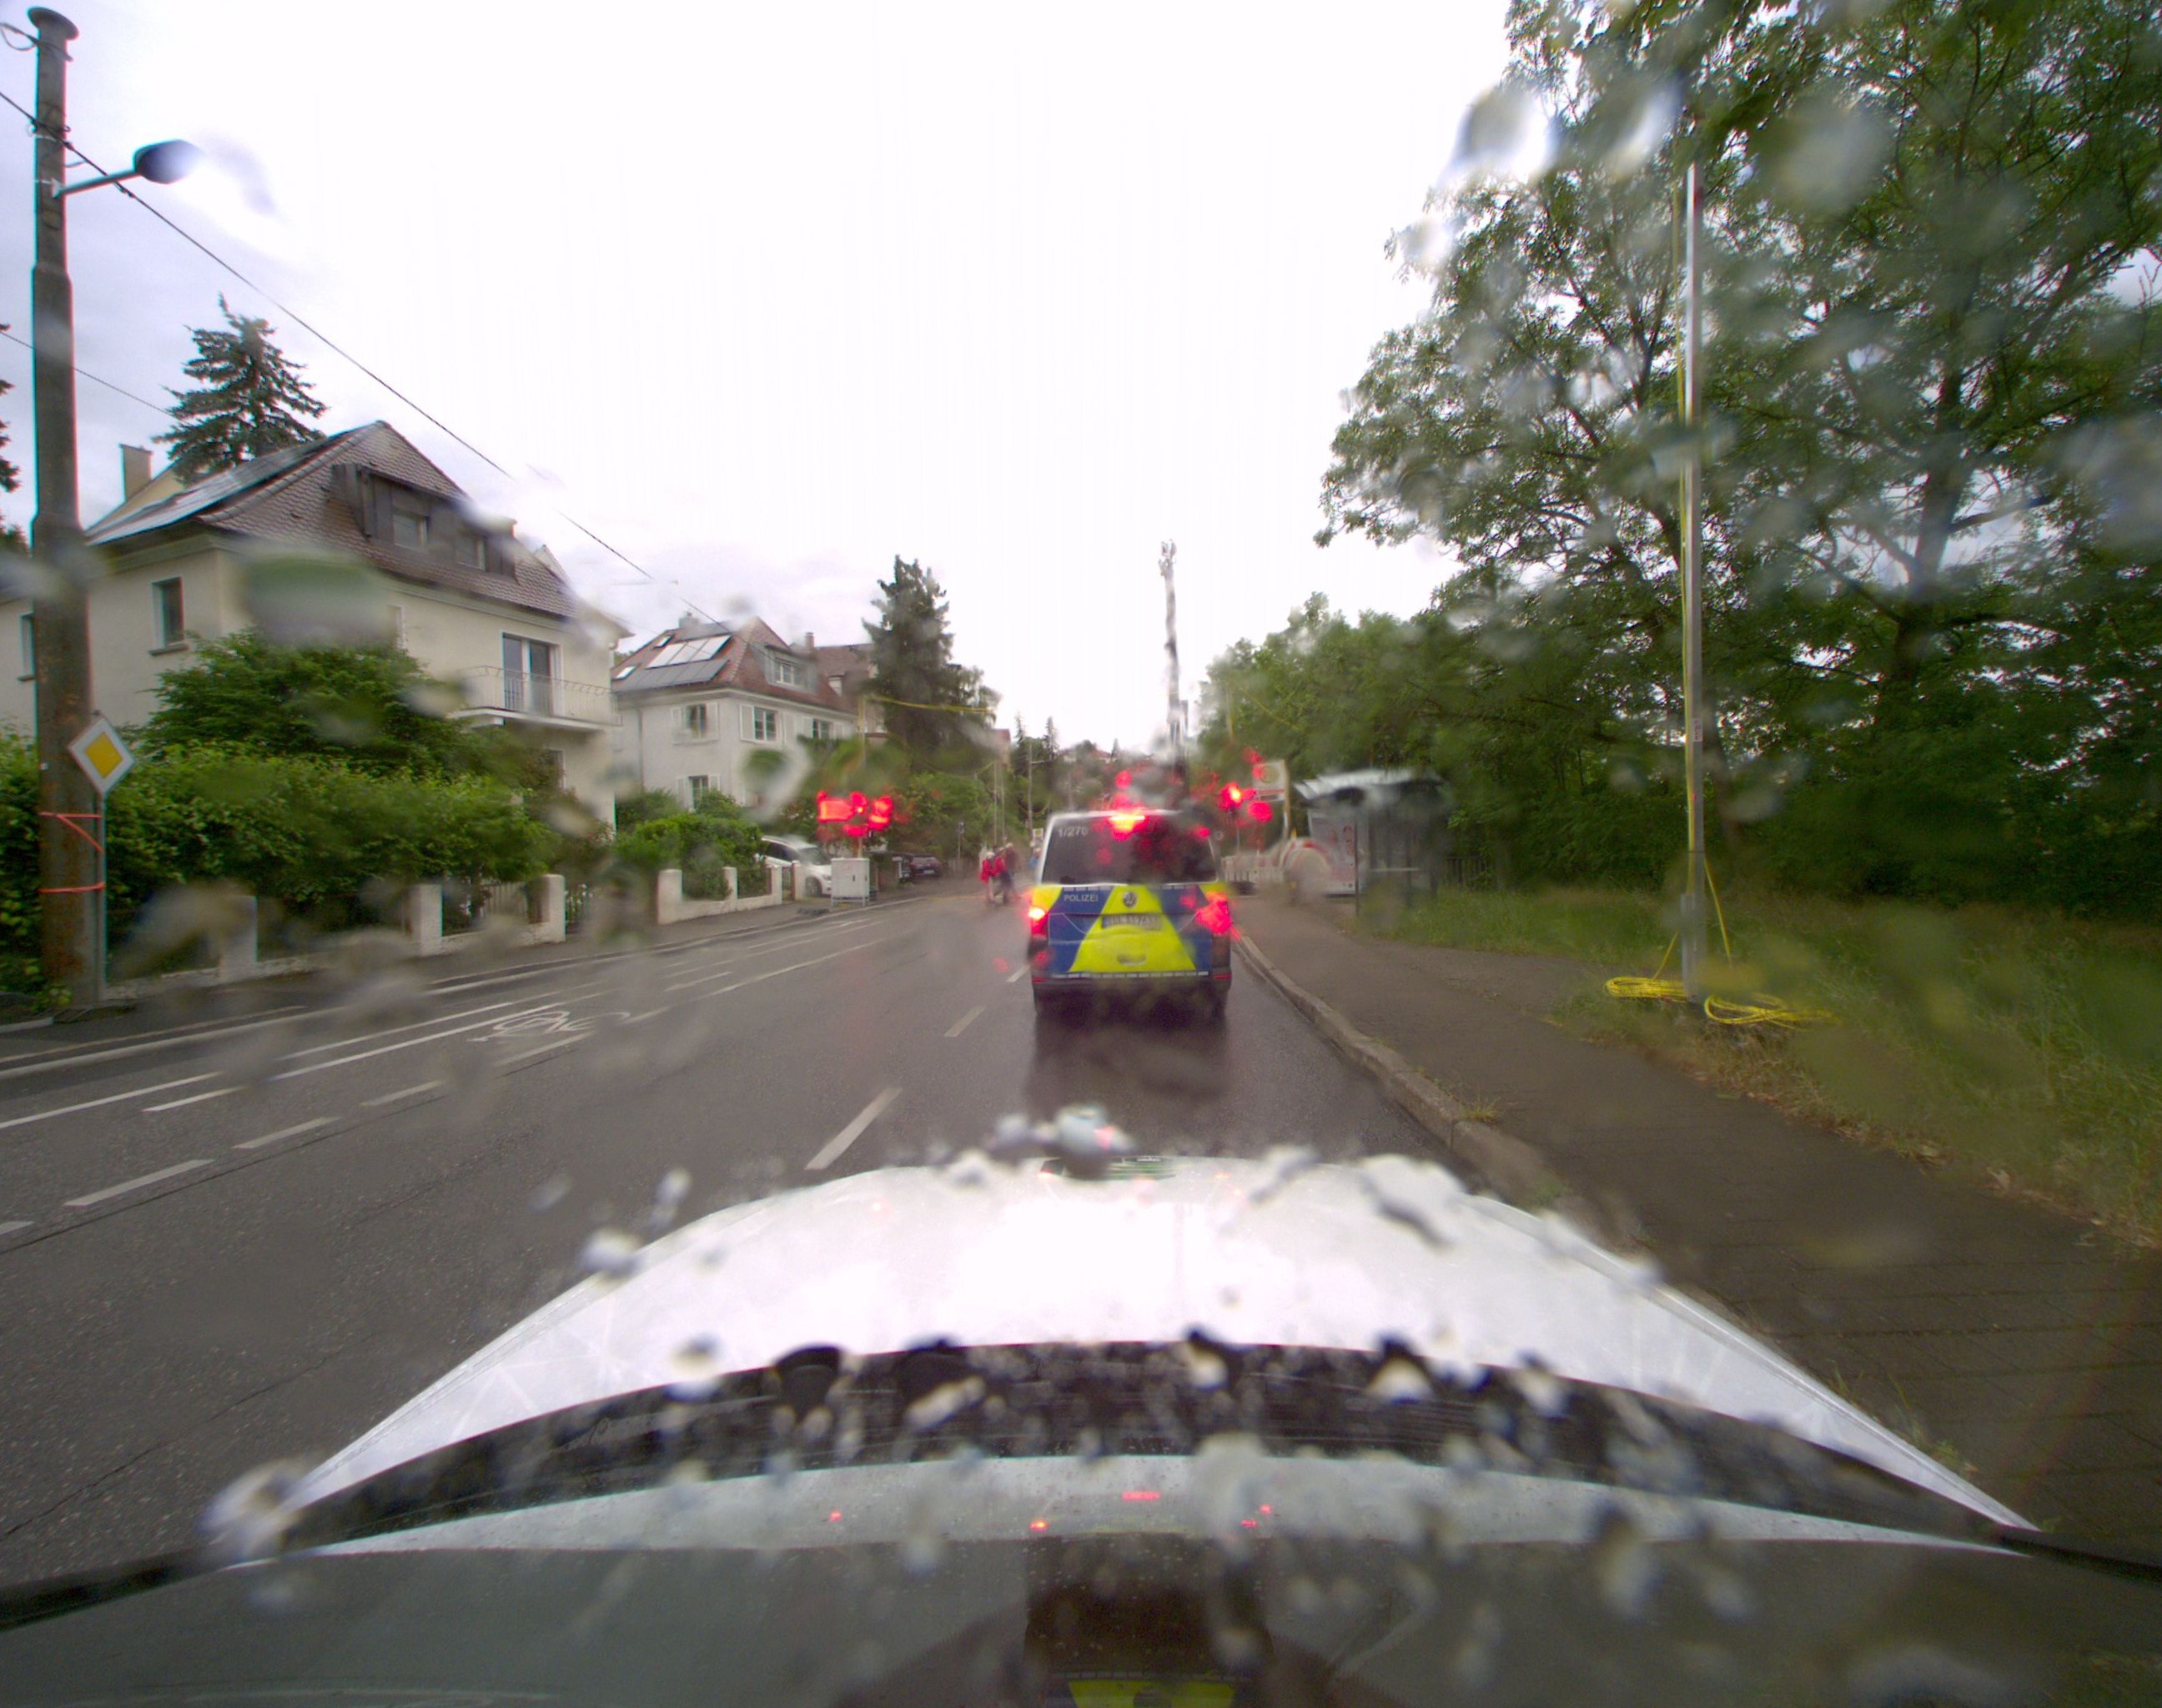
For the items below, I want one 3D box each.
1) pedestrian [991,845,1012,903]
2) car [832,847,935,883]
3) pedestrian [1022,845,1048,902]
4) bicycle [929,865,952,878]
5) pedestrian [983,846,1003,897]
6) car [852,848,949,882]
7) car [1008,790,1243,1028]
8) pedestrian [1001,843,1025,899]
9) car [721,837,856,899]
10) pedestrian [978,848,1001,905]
[{"bbox_3d":[-2.285,0.581,23.462,0.546,1.668,0.414,0,-2,3],"label":"pedestrian"},{"bbox_3d":[-8.538,0.498,35.321,3.960,1.486,1.765,0,-2,12],"label":"car"},{"bbox_3d":[-1.235,0.529,22.187,0.623,1.522,0.593,0,-2,4],"label":"pedestrian"},{"bbox_3d":[-6.971,0.878,40.371,1.046,0.662,0.321,0,-2,12],"label":"bicycle"},{"bbox_3d":[-2.627,0.536,24.337,0.523,1.507,0.429,0,-2,3],"label":"pedestrian"},{"bbox_3d":[-8.284,0.522,37.465,3.960,1.486,1.765,0,-2,12],"label":"car"},{"bbox_3d":[0.412,0.448,9.177,1.987,2.013,4.402,-1,0,1],"label":"car"},{"bbox_3d":[-2.093,0.526,25.126,0.623,1.715,0.593,0,-2,4],"label":"pedestrian"},{"bbox_3d":[-9.983,0.461,27.903,3.959,2.013,1.837,-1,0,13],"label":"car"},{"bbox_3d":[-2.536,0.623,22.579,0.560,1.582,0.468,0,-2,3],"label":"pedestrian"}]
